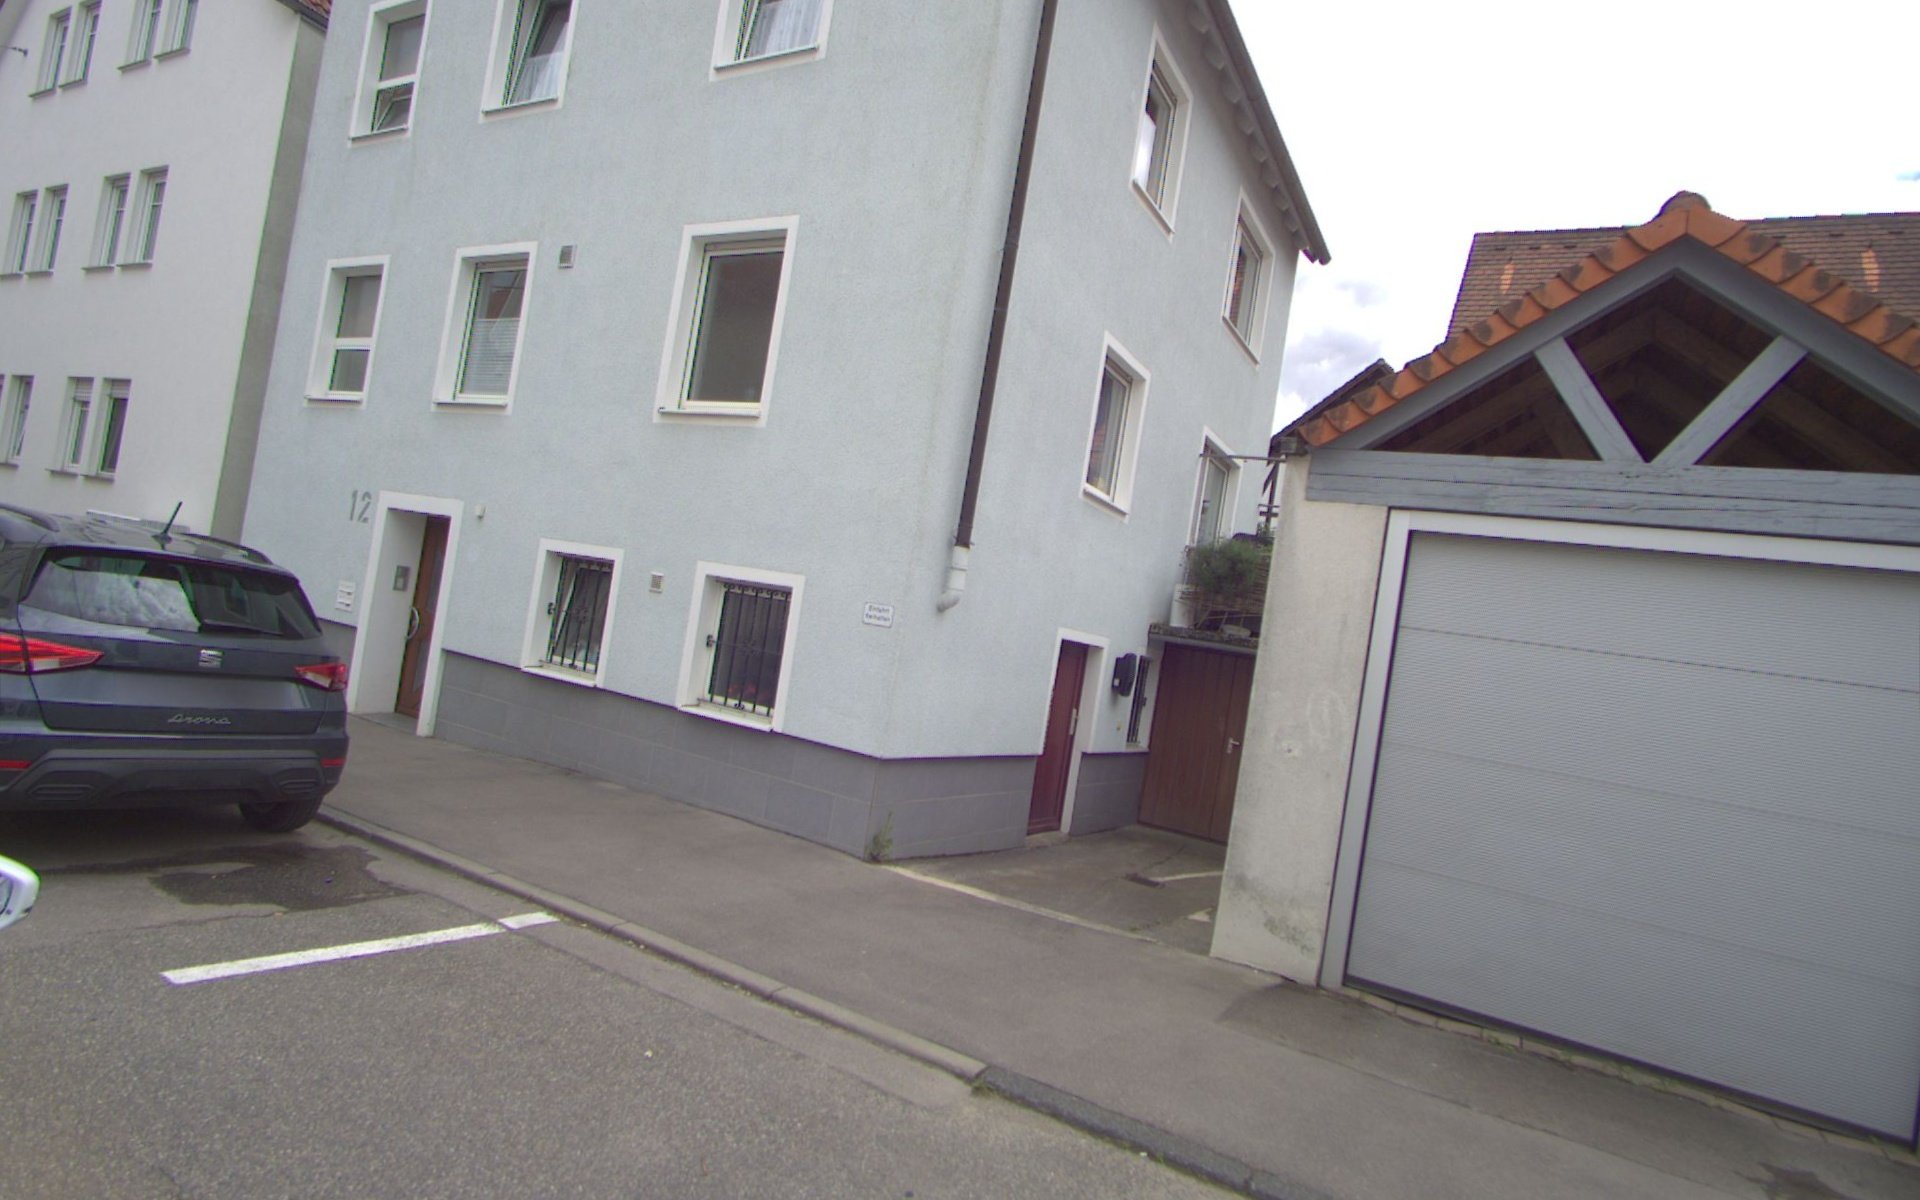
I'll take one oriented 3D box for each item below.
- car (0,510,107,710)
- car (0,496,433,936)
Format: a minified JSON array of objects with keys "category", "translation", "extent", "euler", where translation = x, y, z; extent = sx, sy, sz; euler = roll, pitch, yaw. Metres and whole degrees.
[{"category":"car","translation":[-9.042,-0.175,7.974],"extent":[4.576,1.426,1.923],"euler":[6,-2,29]},{"category":"car","translation":[-5.128,0.317,5.515],"extent":[4.459,1.645,1.759],"euler":[7,-4,32]}]
